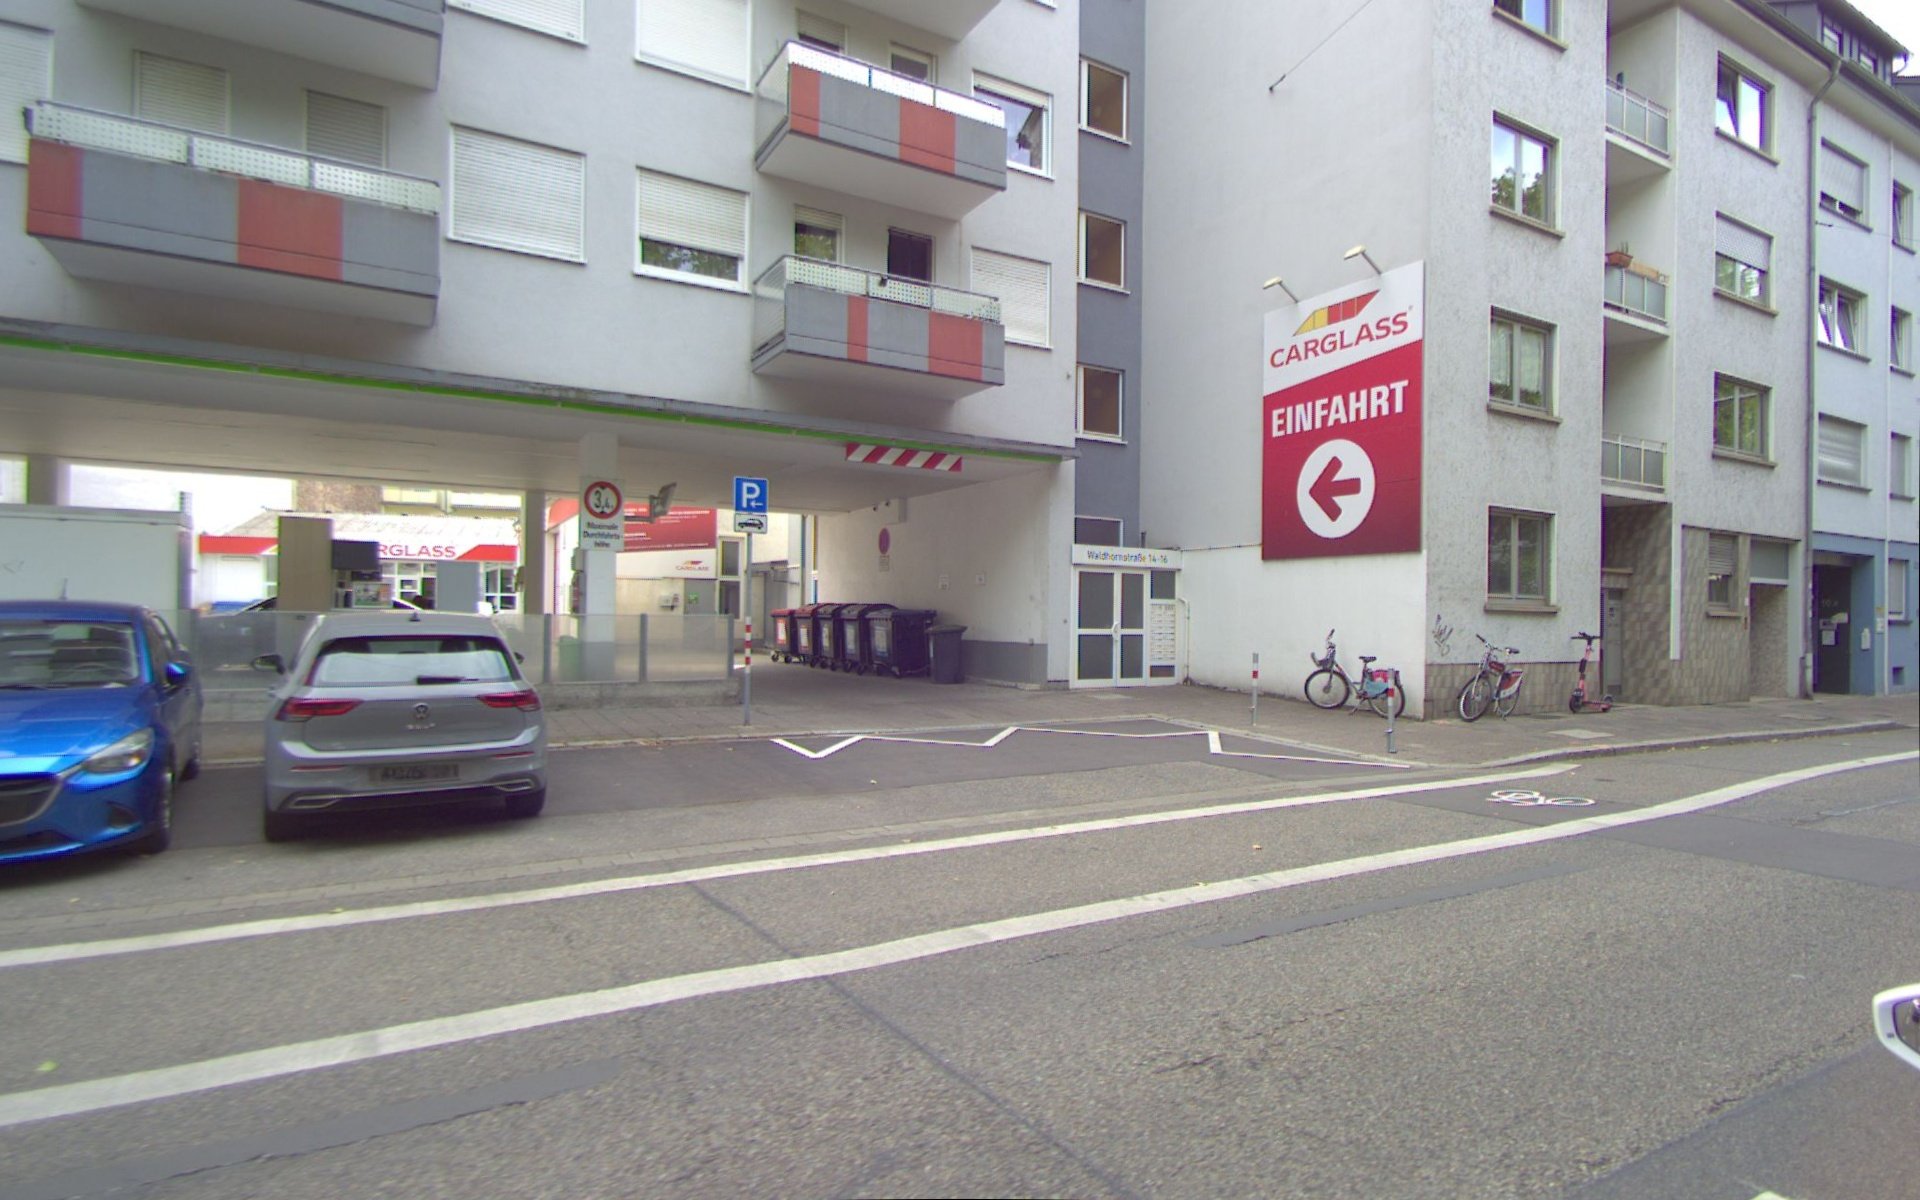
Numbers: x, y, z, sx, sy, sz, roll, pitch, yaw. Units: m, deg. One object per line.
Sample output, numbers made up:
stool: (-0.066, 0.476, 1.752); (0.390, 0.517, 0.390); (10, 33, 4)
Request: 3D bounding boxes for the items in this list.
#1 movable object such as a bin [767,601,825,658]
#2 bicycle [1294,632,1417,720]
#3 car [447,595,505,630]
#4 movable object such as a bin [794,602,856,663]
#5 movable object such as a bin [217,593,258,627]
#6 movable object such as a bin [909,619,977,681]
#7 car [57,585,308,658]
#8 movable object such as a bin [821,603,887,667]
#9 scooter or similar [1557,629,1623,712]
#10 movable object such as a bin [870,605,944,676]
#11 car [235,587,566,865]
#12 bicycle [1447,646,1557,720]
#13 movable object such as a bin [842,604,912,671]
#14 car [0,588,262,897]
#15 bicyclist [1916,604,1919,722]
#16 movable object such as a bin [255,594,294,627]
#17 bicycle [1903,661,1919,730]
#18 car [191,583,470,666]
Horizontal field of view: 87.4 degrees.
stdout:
movable object such as a bin: (-4.093, 0.733, 25.072); (1.162, 1.370, 1.039); (1, -1, -27)
bicycle: (5.717, 1.071, 14.623); (0.448, 1.132, 1.763); (1, 0, -30)
car: (-21.113, 0.536, 43.724); (1.715, 1.488, 3.894); (1, -1, -35)
movable object such as a bin: (-3.161, 0.752, 23.532); (1.162, 1.370, 1.039); (1, -1, -27)
movable object such as a bin: (-32.085, 0.428, 44.620); (1.147, 1.462, 1.244); (1, 0, -19)
movable object such as a bin: (-0.323, 0.918, 18.710); (0.962, 1.121, 0.941); (1, -1, -27)
car: (-17.645, 0.491, 23.103); (4.316, 1.542, 1.830); (1, 0, -31)
movable object such as a bin: (-2.348, 0.768, 22.234); (1.162, 1.370, 1.039); (1, -1, -27)
scooter or similar: (9.890, 1.088, 15.752); (1.188, 1.238, 0.348); (1, 1, -31)
movable object such as a bin: (-1.062, 0.794, 20.020); (1.162, 1.370, 1.039); (1, -1, -27)
car: (-4.463, 0.730, 8.154); (1.815, 1.534, 4.131); (1, 2, -29)
bicycle: (7.681, 1.152, 14.225); (1.643, 0.963, 0.594); (1, 0, -31)
movable object such as a bin: (-1.754, 0.779, 21.184); (1.162, 1.370, 1.039); (1, -1, -27)
car: (-6.232, 0.724, 6.923); (1.887, 1.470, 4.280); (1, 2, -29)
bicyclist: (15.589, 0.990, 15.713); (1.033, 1.834, 0.649); (1, -2, -30)
movable object such as a bin: (-30.760, 0.466, 45.095); (1.147, 1.462, 1.244); (1, 0, -19)
bicycle: (15.514, 1.475, 15.662); (2.053, 1.028, 0.643); (1, -1, -31)
car: (-10.887, 0.427, 17.659); (3.954, 1.315, 1.898); (1, -1, -31)
